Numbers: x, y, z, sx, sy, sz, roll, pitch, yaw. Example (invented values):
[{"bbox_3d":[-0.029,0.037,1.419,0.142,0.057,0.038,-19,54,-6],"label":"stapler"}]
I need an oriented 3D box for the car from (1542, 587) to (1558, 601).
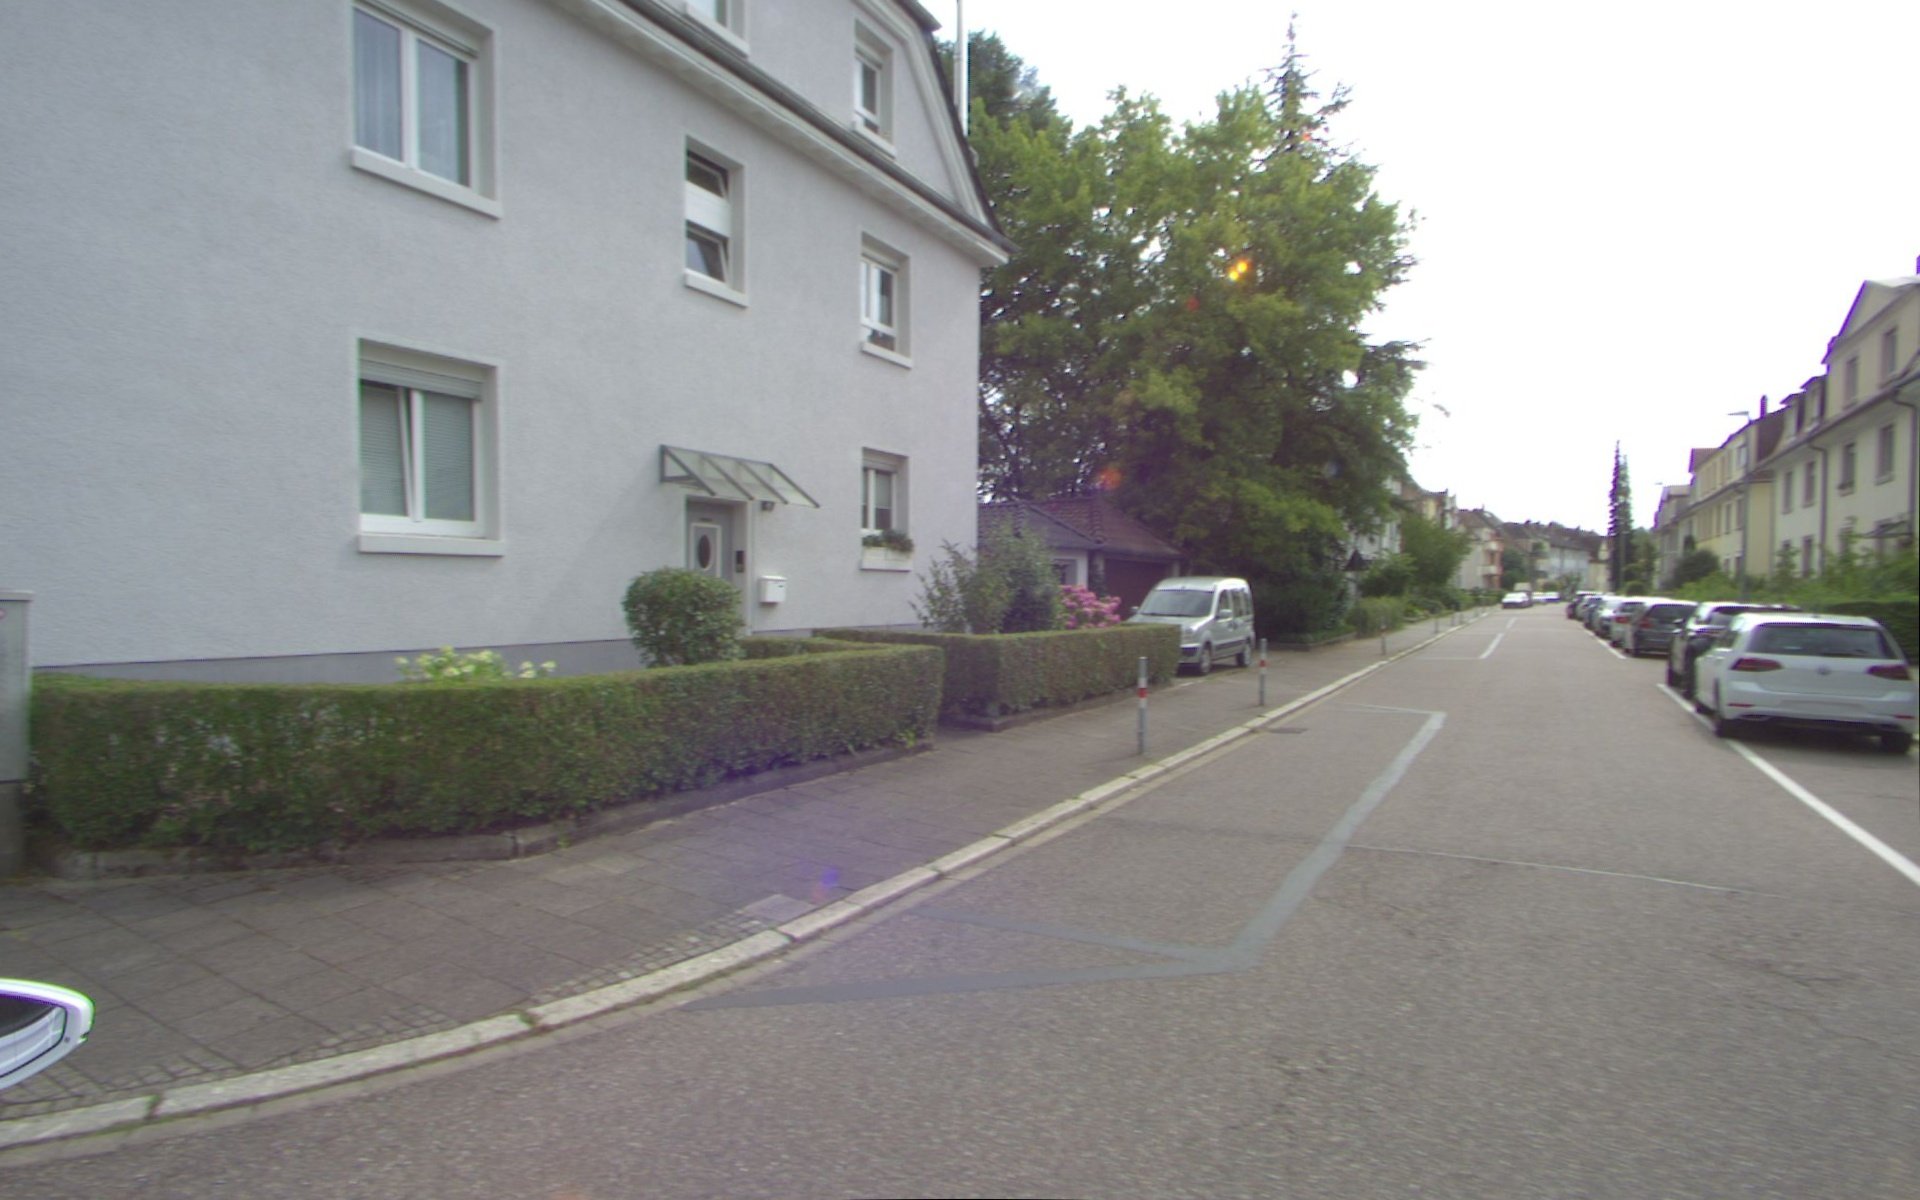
[{"bbox_3d":[93.578,-0.898,158.825,1.972,2.152,3.976,1,1,34],"label":"car"}]

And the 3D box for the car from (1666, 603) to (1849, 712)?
[{"bbox_3d":[12.972,0.823,16.552,1.832,1.491,4.153,1,1,32],"label":"car"}]

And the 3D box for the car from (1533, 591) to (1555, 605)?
[{"bbox_3d":[70.649,-0.242,121.134,1.972,1.662,3.976,1,1,34],"label":"car"}]

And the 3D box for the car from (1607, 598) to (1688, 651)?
[{"bbox_3d":[21.419,0.710,31.327,1.832,1.491,4.153,1,1,32],"label":"car"}]

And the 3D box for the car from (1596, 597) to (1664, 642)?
[{"bbox_3d":[24.207,0.653,36.297,1.832,1.491,4.153,1,1,32],"label":"car"}]

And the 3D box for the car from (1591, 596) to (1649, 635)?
[{"bbox_3d":[27.518,0.598,41.835,1.832,1.491,4.153,1,1,32],"label":"car"}]

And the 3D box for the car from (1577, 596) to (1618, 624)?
[{"bbox_3d":[35.848,0.524,56.360,1.832,1.491,4.153,1,1,32],"label":"car"}]

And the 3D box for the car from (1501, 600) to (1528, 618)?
[{"bbox_3d":[54.009,0.849,97.454,1.972,1.662,3.976,1,1,34],"label":"car"}]

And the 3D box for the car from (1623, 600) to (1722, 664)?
[{"bbox_3d":[18.794,0.786,26.565,1.832,1.491,4.153,1,1,32],"label":"car"}]

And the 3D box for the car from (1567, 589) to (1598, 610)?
[{"bbox_3d":[48.107,-0.075,77.439,1.832,1.599,4.154,1,1,30],"label":"car"}]

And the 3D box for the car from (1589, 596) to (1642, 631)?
[{"bbox_3d":[29.825,0.575,45.642,1.832,1.491,4.153,1,1,32],"label":"car"}]

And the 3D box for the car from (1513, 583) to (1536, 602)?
[{"bbox_3d":[60.698,-0.828,107.667,1.971,2.041,3.978,1,1,32],"label":"car"}]

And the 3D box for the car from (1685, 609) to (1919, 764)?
[{"bbox_3d":[10.316,0.905,12.381,1.832,1.491,4.153,1,1,32],"label":"car"}]

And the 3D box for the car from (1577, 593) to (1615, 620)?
[{"bbox_3d":[38.603,0.361,60.852,1.832,1.599,4.153,1,1,32],"label":"car"}]

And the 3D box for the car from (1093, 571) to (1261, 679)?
[{"bbox_3d":[4.308,0.407,19.443,1.971,1.862,3.978,1,1,32],"label":"car"}]

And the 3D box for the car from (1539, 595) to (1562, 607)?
[{"bbox_3d":[78.312,0.115,132.774,1.976,1.557,3.969,-1,0,39],"label":"car"}]
